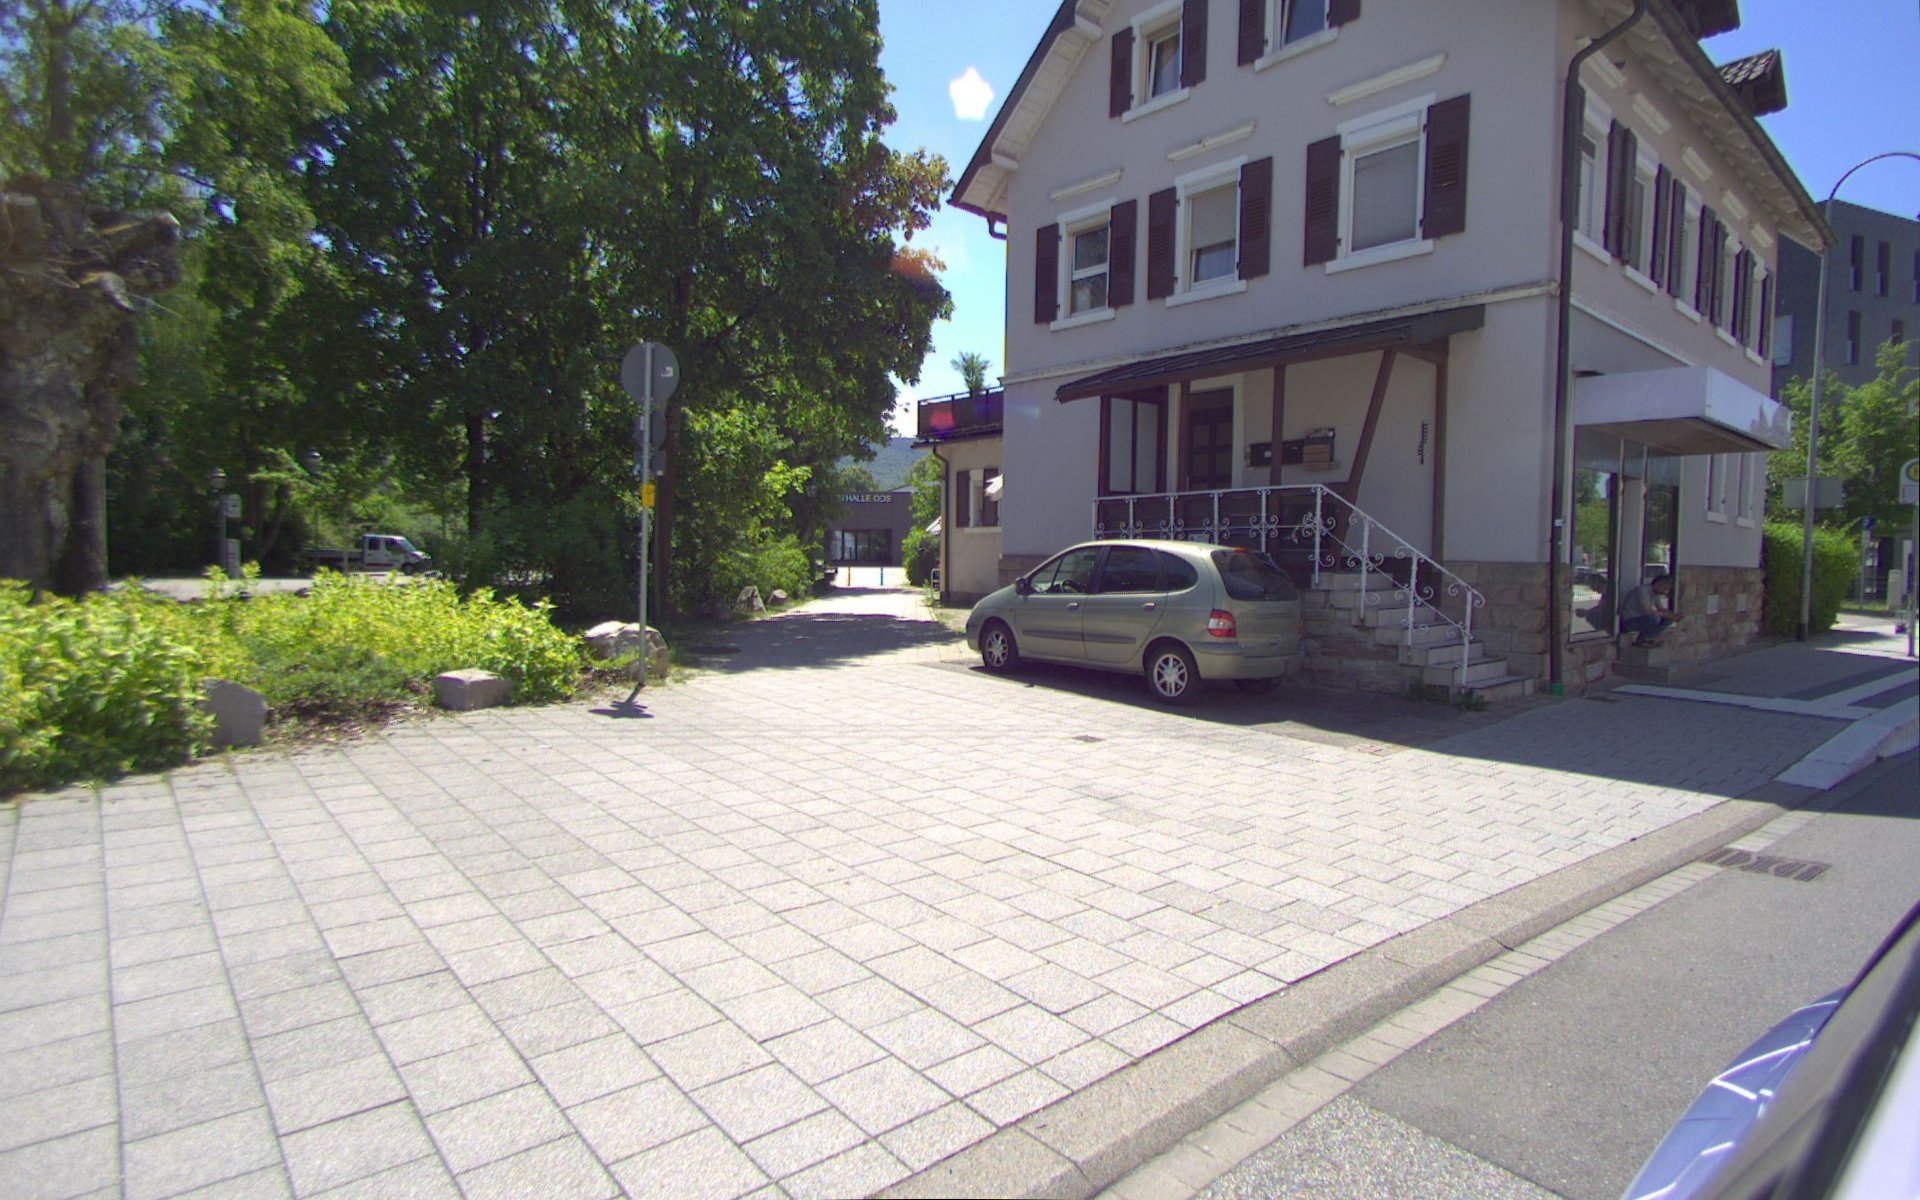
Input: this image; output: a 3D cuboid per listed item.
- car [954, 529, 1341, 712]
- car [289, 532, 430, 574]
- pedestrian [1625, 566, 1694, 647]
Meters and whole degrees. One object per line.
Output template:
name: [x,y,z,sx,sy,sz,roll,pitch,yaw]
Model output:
car: [1.916,0.061,11.404,1.770,1.614,4.072,-1,5,-39]
car: [-34.310,-2.710,58.023,6.624,2.266,2.199,0,2,-11]
pedestrian: [9.179,0.070,13.279,0.712,1.011,0.590,-1,4,-45]
